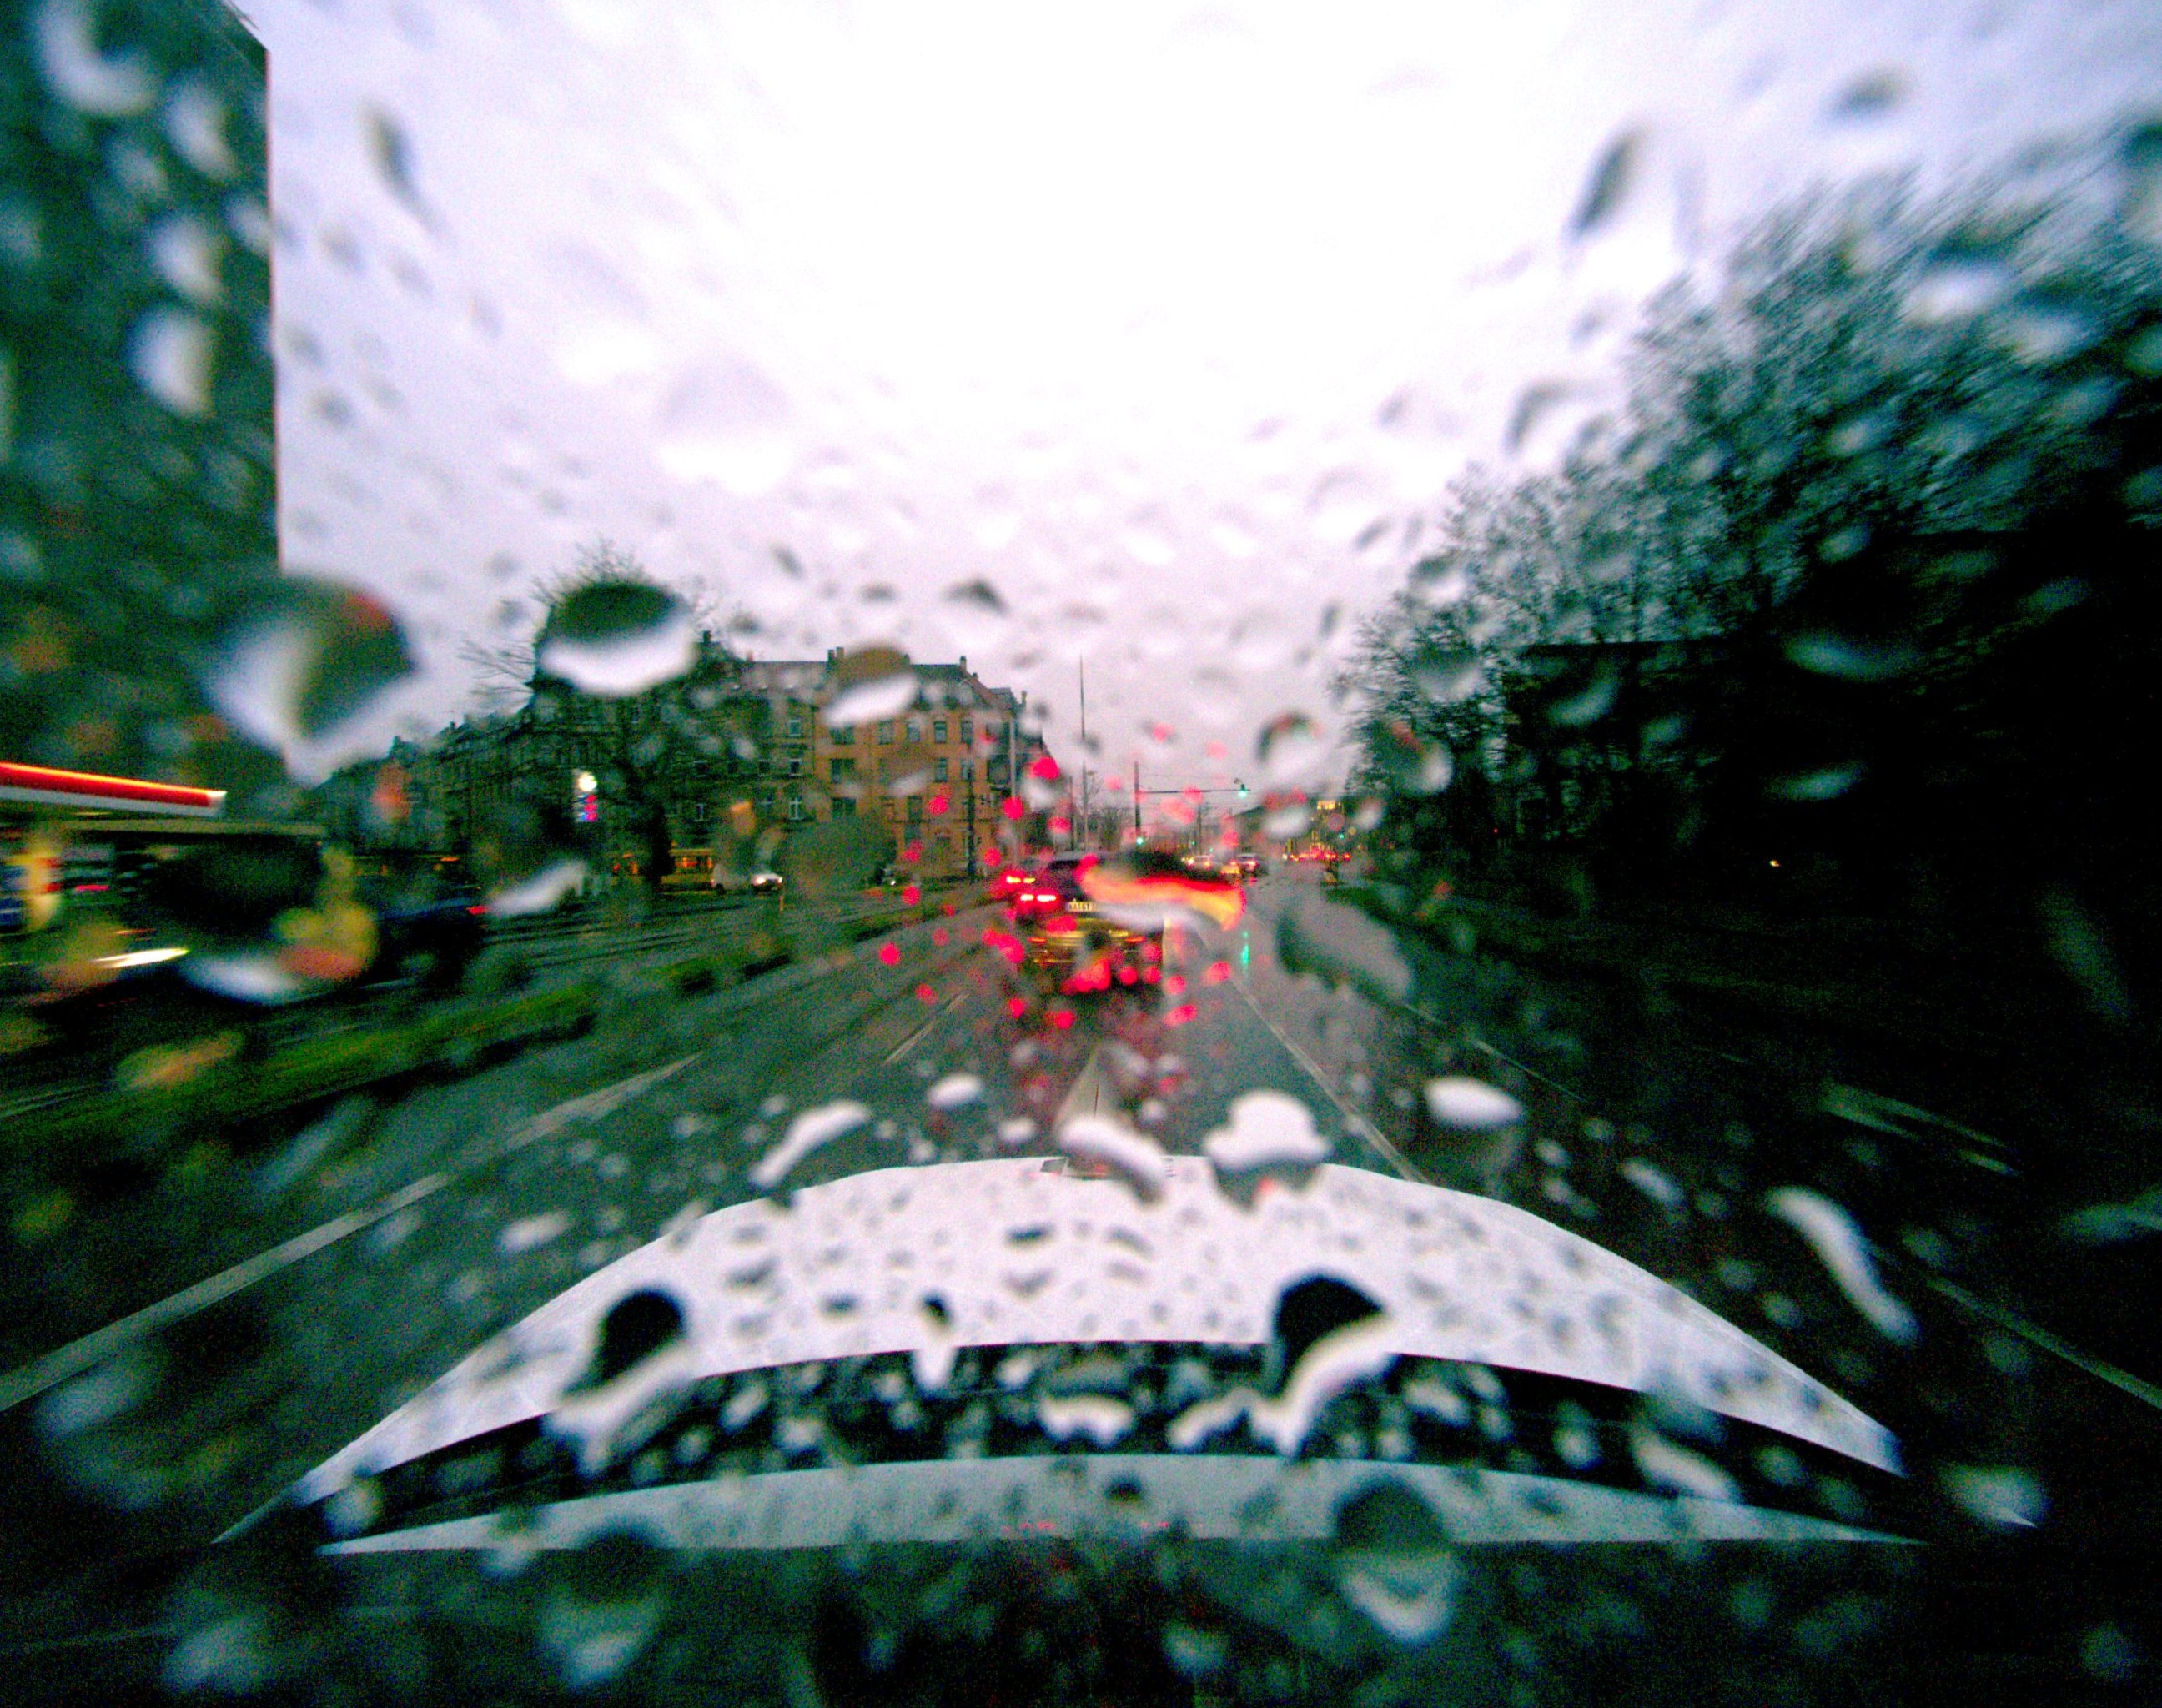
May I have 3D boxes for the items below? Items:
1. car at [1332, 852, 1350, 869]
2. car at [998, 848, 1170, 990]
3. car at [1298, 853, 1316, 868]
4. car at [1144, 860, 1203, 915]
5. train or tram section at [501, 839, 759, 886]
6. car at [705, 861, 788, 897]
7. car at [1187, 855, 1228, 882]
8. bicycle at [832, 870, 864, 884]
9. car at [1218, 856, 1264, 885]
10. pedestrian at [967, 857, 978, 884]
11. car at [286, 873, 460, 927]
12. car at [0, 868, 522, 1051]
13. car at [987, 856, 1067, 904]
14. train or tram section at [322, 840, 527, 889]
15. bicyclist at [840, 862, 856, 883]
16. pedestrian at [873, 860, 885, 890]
[{"bbox_3d":[27.622,0.664,86.475,1.731,1.611,4.019,-2,0,18],"label":"car"},{"bbox_3d":[0.120,0.770,11.630,1.983,1.616,4.003,-2,0,2],"label":"car"},{"bbox_3d":[25.878,0.732,93.189,1.731,1.611,4.019,-2,0,18],"label":"car"},{"bbox_3d":[3.414,1.178,30.113,1.983,1.765,4.007,-2,0,6],"label":"car"},{"bbox_3d":[-32.362,0.552,59.210,16.244,3.188,3.161,0,0,-8],"label":"train or tram section"},{"bbox_3d":[-20.799,1.558,50.617,4.794,1.946,2.012,-4,0,25],"label":"car"},{"bbox_3d":[9.118,1.003,58.460,1.976,1.765,4.022,-2,0,23],"label":"car"},{"bbox_3d":[-15.756,1.541,55.056,1.989,0.900,0.502,-1,0,-27],"label":"bicycle"},{"bbox_3d":[10.655,1.080,54.029,1.975,1.765,4.023,-2,0,25],"label":"car"},{"bbox_3d":[-7.157,1.058,53.809,0.463,1.772,0.632,-1,-1,23],"label":"pedestrian"},{"bbox_3d":[-23.287,1.477,26.914,3.980,1.530,1.776,-2,0,-5],"label":"car"},{"bbox_3d":[-9.772,1.092,10.367,1.637,1.630,4.668,-2,0,6],"label":"car"},{"bbox_3d":[-1.724,0.826,27.432,1.983,1.398,4.007,-2,0,6],"label":"car"},{"bbox_3d":[-45.863,0.721,57.260,11.107,3.237,3.161,0,0,-8],"label":"train or tram section"},{"bbox_3d":[-15.757,1.251,55.058,0.971,1.390,0.502,-1,0,-26],"label":"bicyclist"},{"bbox_3d":[-12.323,1.257,49.649,0.626,1.792,0.530,-1,0,-11],"label":"pedestrian"}]
